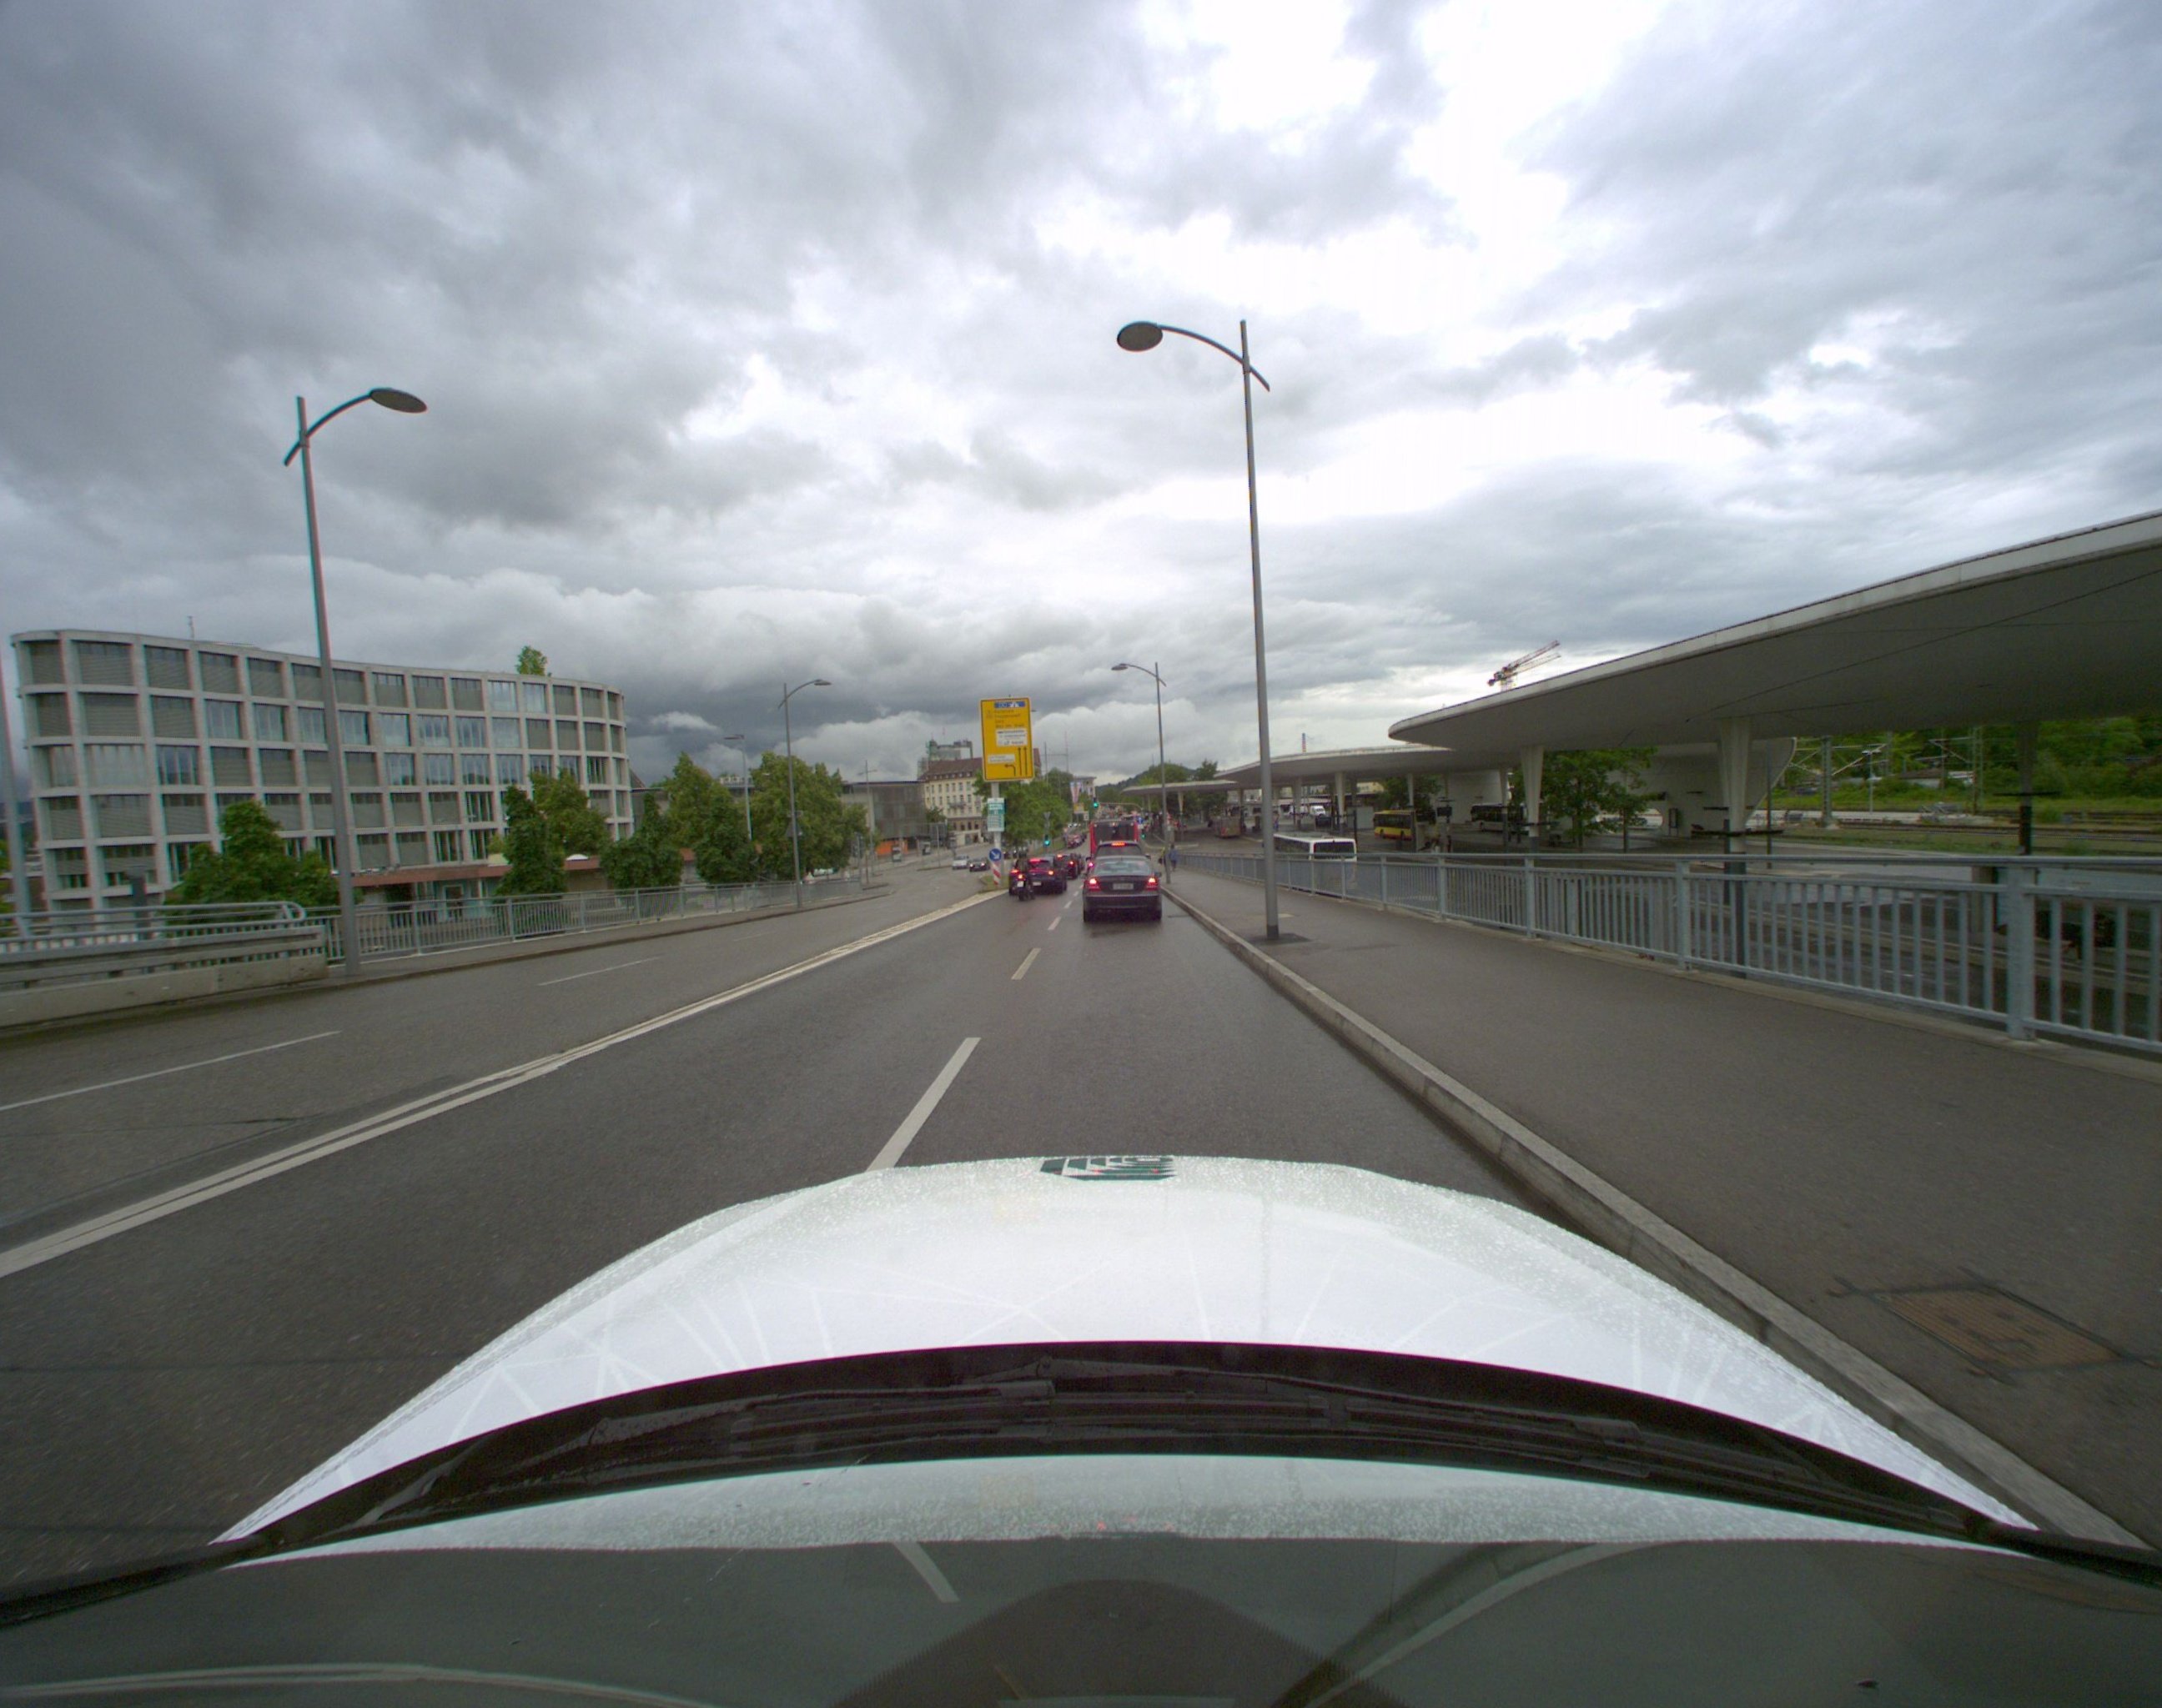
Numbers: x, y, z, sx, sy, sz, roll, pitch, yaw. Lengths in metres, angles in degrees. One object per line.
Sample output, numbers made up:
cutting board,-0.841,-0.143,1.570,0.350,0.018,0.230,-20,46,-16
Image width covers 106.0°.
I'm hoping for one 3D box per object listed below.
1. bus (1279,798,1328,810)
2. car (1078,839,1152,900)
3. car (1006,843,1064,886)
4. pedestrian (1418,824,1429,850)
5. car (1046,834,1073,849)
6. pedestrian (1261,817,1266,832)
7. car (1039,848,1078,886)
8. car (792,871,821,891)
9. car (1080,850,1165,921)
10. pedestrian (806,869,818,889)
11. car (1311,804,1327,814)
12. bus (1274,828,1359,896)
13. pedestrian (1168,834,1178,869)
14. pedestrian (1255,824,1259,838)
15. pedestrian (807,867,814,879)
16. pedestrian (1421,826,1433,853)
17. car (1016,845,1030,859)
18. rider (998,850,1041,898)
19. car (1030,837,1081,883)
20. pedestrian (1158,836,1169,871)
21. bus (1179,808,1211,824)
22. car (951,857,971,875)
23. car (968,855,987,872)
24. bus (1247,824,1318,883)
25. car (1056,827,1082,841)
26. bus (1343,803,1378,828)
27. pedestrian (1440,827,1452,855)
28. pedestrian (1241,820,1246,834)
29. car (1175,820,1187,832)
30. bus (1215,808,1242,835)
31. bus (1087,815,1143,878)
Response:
bus,48.384,-10.818,177.200,10.139,2.013,2.169,-3,1,-1
car,1.157,0.416,25.419,1.816,1.687,4.010,-1,1,9
car,-1.651,0.339,30.722,1.753,1.436,4.003,-2,1,2
pedestrian,27.191,-1.376,64.704,0.541,2.013,0.580,-3,1,3
car,-3.333,-1.957,126.923,3.967,2.013,2.004,-3,1,6
pedestrian,26.087,-4.231,116.394,0.422,2.014,0.484,-3,-2,4
car,-1.243,0.681,46.756,1.986,2.006,4.002,-2,1,1
car,-31.088,3.040,92.235,2.008,2.013,3.958,1,1,-35
car,0.909,0.641,18.436,1.699,1.419,3.727,-1,0,2
pedestrian,-20.117,1.895,60.921,0.645,1.408,0.531,-3,2,4
car,48.147,-9.097,164.742,1.986,2.013,4.002,-3,2,2
bus,13.210,0.310,46.252,2.639,3.235,7.070,-2,4,-1
pedestrian,5.404,-0.152,47.836,0.422,2.014,0.484,-3,-2,4
pedestrian,25.928,-3.446,119.936,0.422,2.013,0.484,-3,1,4
pedestrian,-20.217,1.404,60.859,0.299,0.873,0.299,-3,2,4
pedestrian,26.975,-1.140,63.507,0.541,2.013,0.580,-3,1,3
car,-9.106,-0.327,128.073,1.990,2.013,4.195,-3,-1,-5
rider,-1.963,0.616,26.345,0.876,1.472,2.201,-1,1,8
car,-1.112,0.224,38.027,1.985,2.006,4.003,-2,1,3
pedestrian,4.837,-0.047,47.895,0.487,2.014,0.470,-3,-2,4
bus,27.671,-9.201,198.455,7.179,3.396,3.080,-4,2,-2
car,-14.190,1.402,96.742,1.991,2.013,3.992,-4,0,-5
car,-11.266,0.998,88.692,1.830,1.526,4.586,-4,2,-5
bus,13.052,-0.170,53.372,2.639,3.235,7.070,-3,4,-1
car,-1.979,-3.237,133.116,3.967,2.013,2.004,-3,1,6
bus,38.251,-5.271,111.669,2.589,3.209,7.003,-3,2,4
pedestrian,26.855,-0.931,59.951,0.558,2.013,0.484,-3,1,4
pedestrian,23.468,-3.879,117.559,0.422,2.013,0.484,-3,1,4
car,17.814,-5.070,145.571,1.982,2.013,4.009,-3,1,8
bus,21.643,-4.694,119.748,3.162,3.600,10.531,-3,1,7
bus,1.919,-0.446,47.070,2.816,3.189,10.314,-2,1,2
